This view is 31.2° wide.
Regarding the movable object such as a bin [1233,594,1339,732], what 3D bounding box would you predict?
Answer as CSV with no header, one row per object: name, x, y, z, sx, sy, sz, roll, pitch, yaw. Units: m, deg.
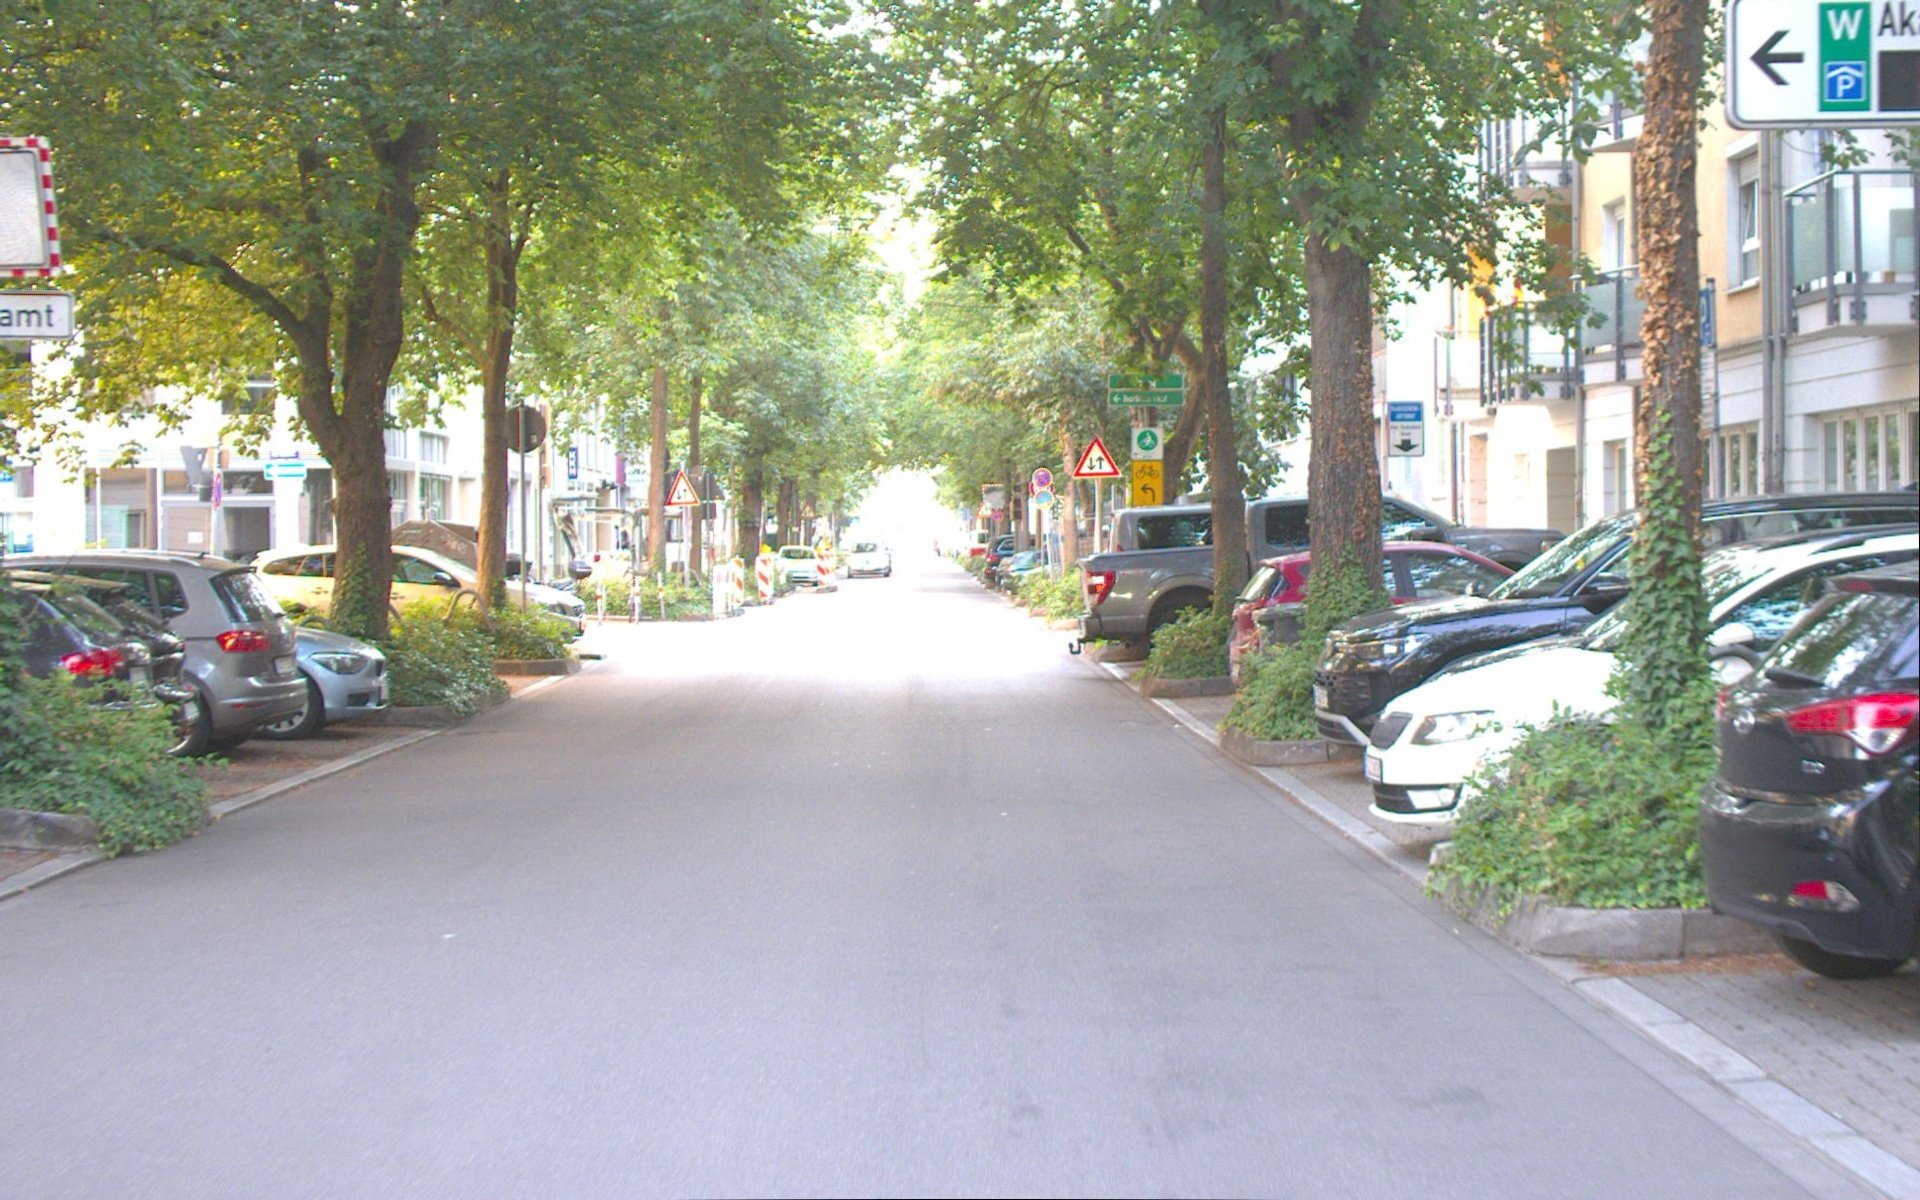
movable object such as a bin,2.675,0.510,28.264,0.760,1.080,0.785,-2,1,0

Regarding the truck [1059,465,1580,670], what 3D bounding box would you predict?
truck,4.150,-0.393,40.433,5.888,2.303,2.212,0,1,0

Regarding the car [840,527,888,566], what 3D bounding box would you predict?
car,-4.107,-2.283,146.911,2.009,1.607,4.120,1,0,-2

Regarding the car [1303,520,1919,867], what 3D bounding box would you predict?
car,4.157,0.383,17.192,4.599,1.463,1.796,-3,1,-1

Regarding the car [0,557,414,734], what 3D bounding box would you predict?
car,-6.950,0.365,29.327,4.287,1.425,1.879,0,1,0

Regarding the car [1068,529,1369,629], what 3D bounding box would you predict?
car,4.077,-0.343,54.855,4.621,1.566,2.011,0,1,-1

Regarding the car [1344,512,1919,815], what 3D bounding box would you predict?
car,4.456,0.299,19.808,4.224,1.433,1.929,-4,1,2

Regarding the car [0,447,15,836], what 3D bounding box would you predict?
car,-7.031,0.229,16.424,4.504,1.948,2.000,0,1,-2

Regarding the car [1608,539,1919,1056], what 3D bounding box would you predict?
car,4.420,0.464,11.204,4.082,1.446,1.935,-4,1,-6

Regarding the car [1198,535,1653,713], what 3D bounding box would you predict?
car,4.114,0.190,30.821,3.776,1.539,1.878,0,1,-2

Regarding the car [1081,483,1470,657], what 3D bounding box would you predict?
car,3.904,-0.390,43.176,4.600,2.059,2.198,-1,1,-2

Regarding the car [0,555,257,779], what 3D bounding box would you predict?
car,-7.074,0.446,24.033,3.986,1.485,1.826,0,1,-3

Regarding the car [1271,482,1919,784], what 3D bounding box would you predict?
car,4.535,0.159,22.399,4.641,1.612,2.010,-4,1,-4

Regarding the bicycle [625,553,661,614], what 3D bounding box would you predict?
bicycle,-6.325,-0.338,68.533,0.683,1.148,1.981,-1,2,-6

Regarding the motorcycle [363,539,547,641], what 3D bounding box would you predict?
motorcycle,-7.162,-0.145,48.794,2.453,1.415,0.911,0,1,2

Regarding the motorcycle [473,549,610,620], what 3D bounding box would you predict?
motorcycle,-7.897,-0.303,64.910,2.350,1.277,1.067,-2,2,-41

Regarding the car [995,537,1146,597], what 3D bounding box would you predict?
car,2.948,-0.890,91.843,3.987,1.579,2.000,0,1,1

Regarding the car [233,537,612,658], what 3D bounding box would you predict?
car,-7.014,-0.051,45.202,4.619,1.547,2.075,0,1,2

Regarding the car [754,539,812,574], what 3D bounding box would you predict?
car,-6.615,-1.634,128.134,1.993,1.284,4.001,0,1,-5

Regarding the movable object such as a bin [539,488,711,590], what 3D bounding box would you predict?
movable object such as a bin,-8.099,-1.491,83.039,4.045,2.375,2.785,-1,1,-6

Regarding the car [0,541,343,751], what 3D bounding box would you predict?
car,-7.008,0.334,26.698,3.987,1.560,1.929,0,1,5

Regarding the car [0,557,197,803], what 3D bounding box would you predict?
car,-6.998,0.480,21.652,3.986,1.459,1.922,0,1,-2
